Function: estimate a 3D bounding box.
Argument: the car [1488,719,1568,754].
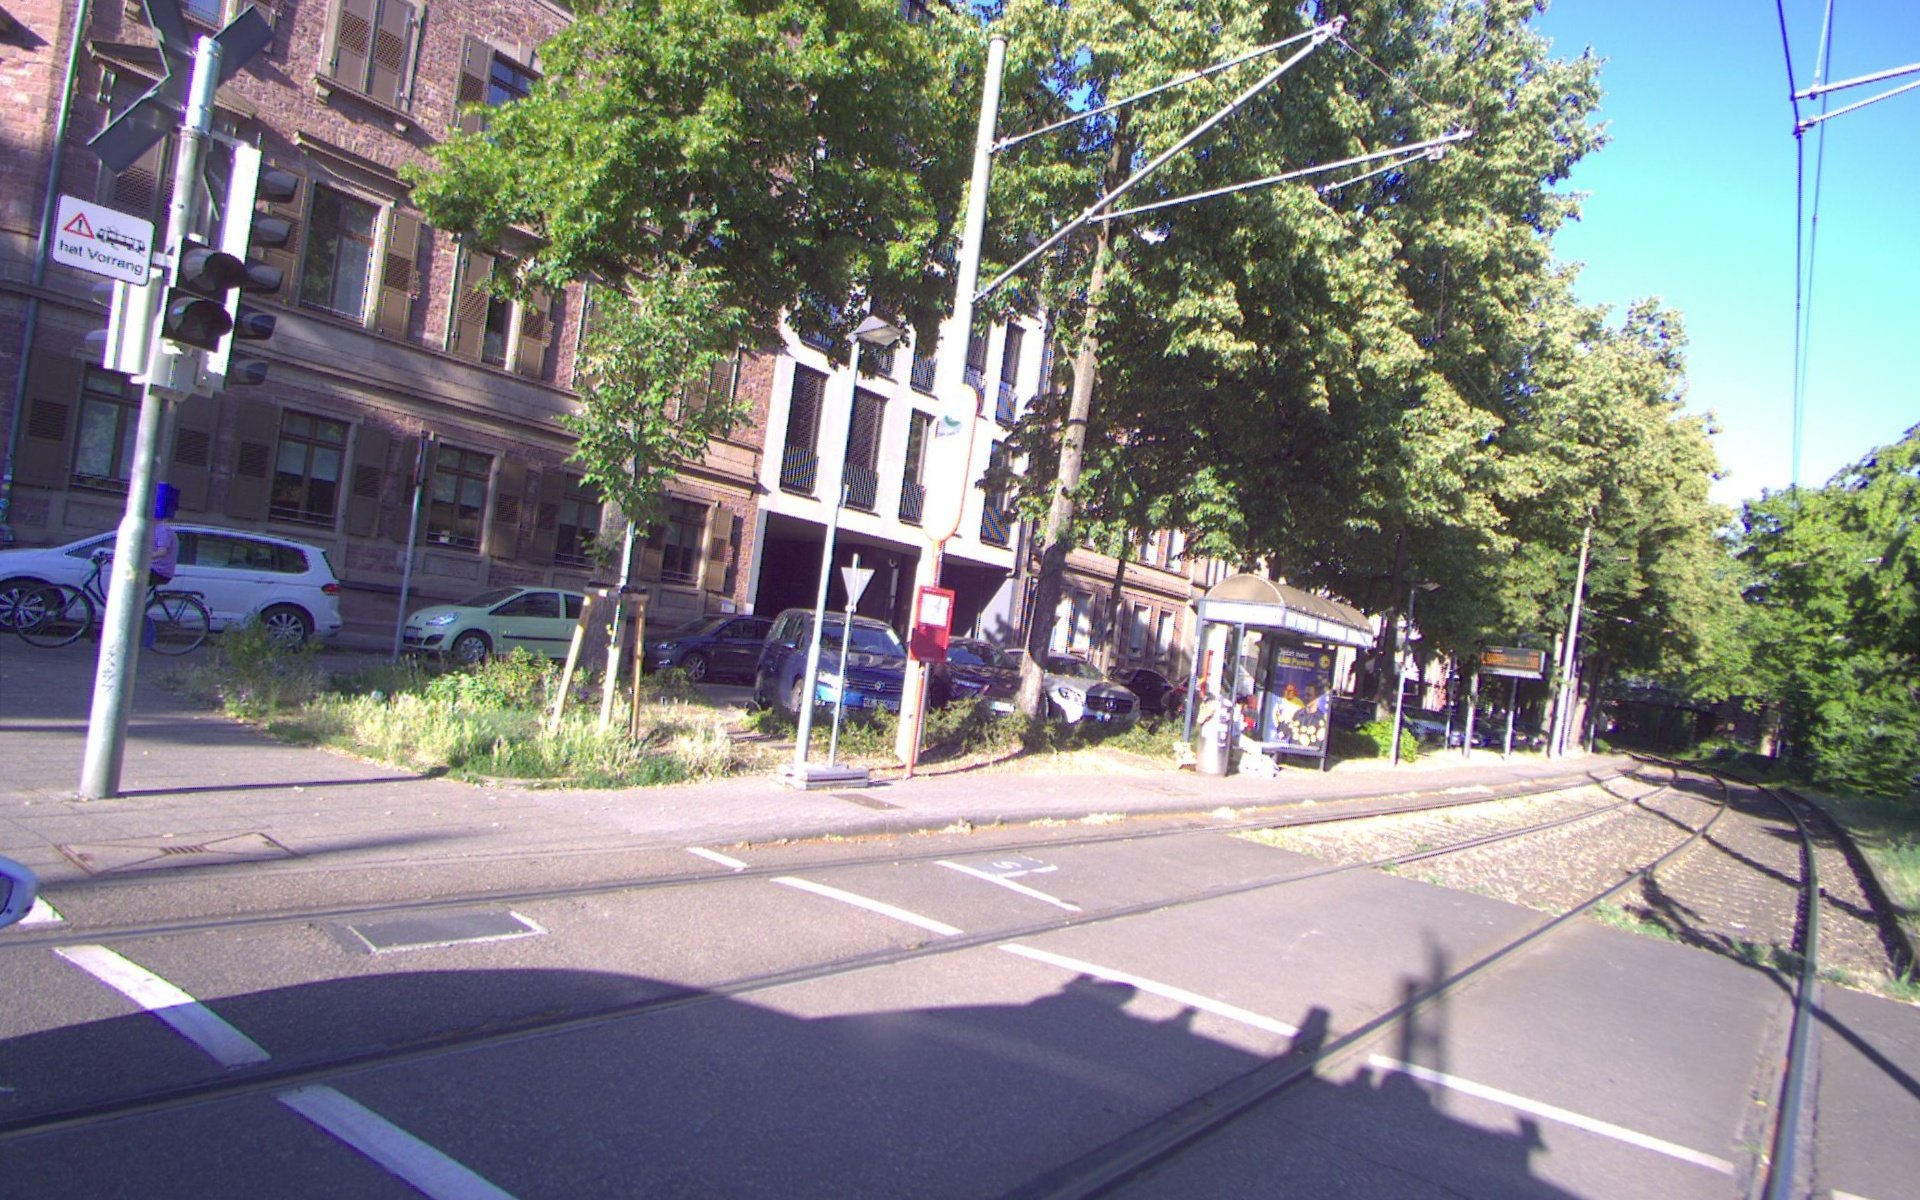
[{"bbox_3d":[34.273,8.240,60.825,1.724,1.293,3.983,9,-1,-19],"label":"car"}]

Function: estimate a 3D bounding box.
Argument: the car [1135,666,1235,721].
[{"bbox_3d":[8.534,3.563,37.931,1.969,1.585,4.231,8,-1,37],"label":"car"}]

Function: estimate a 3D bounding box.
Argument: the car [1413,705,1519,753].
[{"bbox_3d":[22.146,5.635,44.197,1.724,1.293,3.983,9,-1,-19],"label":"car"}]

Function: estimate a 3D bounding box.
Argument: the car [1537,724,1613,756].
[{"bbox_3d":[40.324,9.154,66.056,1.724,1.293,3.983,9,-1,-19],"label":"car"}]

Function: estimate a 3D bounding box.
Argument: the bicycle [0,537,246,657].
[{"bbox_3d":[-9.773,0.013,11.761,0.689,1.065,2.124,8,-3,28],"label":"bicycle"}]

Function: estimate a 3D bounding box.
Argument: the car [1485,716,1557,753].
[{"bbox_3d":[40.206,9.625,72.154,1.732,1.787,3.965,9,-1,-33],"label":"car"}]

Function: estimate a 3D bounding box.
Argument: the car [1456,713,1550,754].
[{"bbox_3d":[27.681,6.798,51.431,1.724,1.293,3.983,9,-1,-19],"label":"car"}]

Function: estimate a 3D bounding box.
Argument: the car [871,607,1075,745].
[{"bbox_3d":[0.037,1.174,17.200,1.903,1.653,4.534,9,-1,-19],"label":"car"}]

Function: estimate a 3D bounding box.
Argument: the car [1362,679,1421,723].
[{"bbox_3d":[26.150,6.134,60.897,1.970,2.197,4.599,8,-1,38],"label":"car"}]

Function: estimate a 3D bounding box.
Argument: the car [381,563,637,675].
[{"bbox_3d":[-8.005,0.388,18.111,1.718,1.506,3.712,4,-4,40],"label":"car"}]

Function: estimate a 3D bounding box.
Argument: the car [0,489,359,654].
[{"bbox_3d":[-11.296,-0.340,14.098,1.850,1.667,4.480,4,-4,41],"label":"car"}]

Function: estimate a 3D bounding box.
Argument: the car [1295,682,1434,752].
[{"bbox_3d":[12.961,3.720,32.518,1.783,1.504,4.268,9,-1,-15],"label":"car"}]

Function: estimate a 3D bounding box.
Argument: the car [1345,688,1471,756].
[{"bbox_3d":[16.585,4.484,37.469,1.783,1.715,4.268,9,-1,-15],"label":"car"}]

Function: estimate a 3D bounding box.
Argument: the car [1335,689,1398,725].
[{"bbox_3d":[23.105,6.101,57.039,1.970,1.585,4.599,8,-1,38],"label":"car"}]

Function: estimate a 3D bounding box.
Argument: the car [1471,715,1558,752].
[{"bbox_3d":[30.764,7.397,55.916,1.724,1.293,3.983,9,-1,-19],"label":"car"}]

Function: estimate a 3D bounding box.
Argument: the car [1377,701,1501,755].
[{"bbox_3d":[18.556,4.942,39.180,1.784,1.293,4.265,9,-1,-18],"label":"car"}]

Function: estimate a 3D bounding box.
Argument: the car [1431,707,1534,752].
[{"bbox_3d":[23.929,5.921,46.254,1.724,1.293,3.983,9,-1,-19],"label":"car"}]

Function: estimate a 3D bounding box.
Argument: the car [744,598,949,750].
[{"bbox_3d":[-1.837,0.953,14.749,1.719,1.706,4.400,9,-3,-21],"label":"car"}]

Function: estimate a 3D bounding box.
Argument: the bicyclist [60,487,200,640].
[{"bbox_3d":[-9.704,-0.409,11.780,0.689,1.606,0.874,8,-2,28],"label":"bicyclist"}]

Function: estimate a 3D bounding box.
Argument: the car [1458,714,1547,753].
[{"bbox_3d":[29.162,7.183,54.215,1.724,1.293,3.983,9,-1,-19],"label":"car"}]

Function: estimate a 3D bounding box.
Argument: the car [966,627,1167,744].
[{"bbox_3d":[1.836,1.517,19.116,1.903,1.504,4.534,9,-1,-19],"label":"car"}]

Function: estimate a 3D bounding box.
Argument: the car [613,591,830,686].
[{"bbox_3d":[-4.981,0.870,21.444,1.719,1.506,4.148,4,-4,42],"label":"car"}]

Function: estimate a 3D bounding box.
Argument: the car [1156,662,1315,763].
[{"bbox_3d":[6.710,2.699,25.094,1.898,1.741,4.545,9,-1,-9],"label":"car"}]

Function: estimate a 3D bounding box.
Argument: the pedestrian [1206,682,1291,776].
[{"bbox_3d":[4.453,1.981,15.523,0.813,1.287,0.873,8,-1,42],"label":"pedestrian"}]

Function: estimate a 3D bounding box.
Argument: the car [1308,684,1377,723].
[{"bbox_3d":[20.211,5.493,53.050,1.970,1.585,4.599,8,-1,38],"label":"car"}]

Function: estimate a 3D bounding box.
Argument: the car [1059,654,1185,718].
[{"bbox_3d":[5.517,2.937,33.825,1.971,1.585,4.577,8,-1,41],"label":"car"}]
